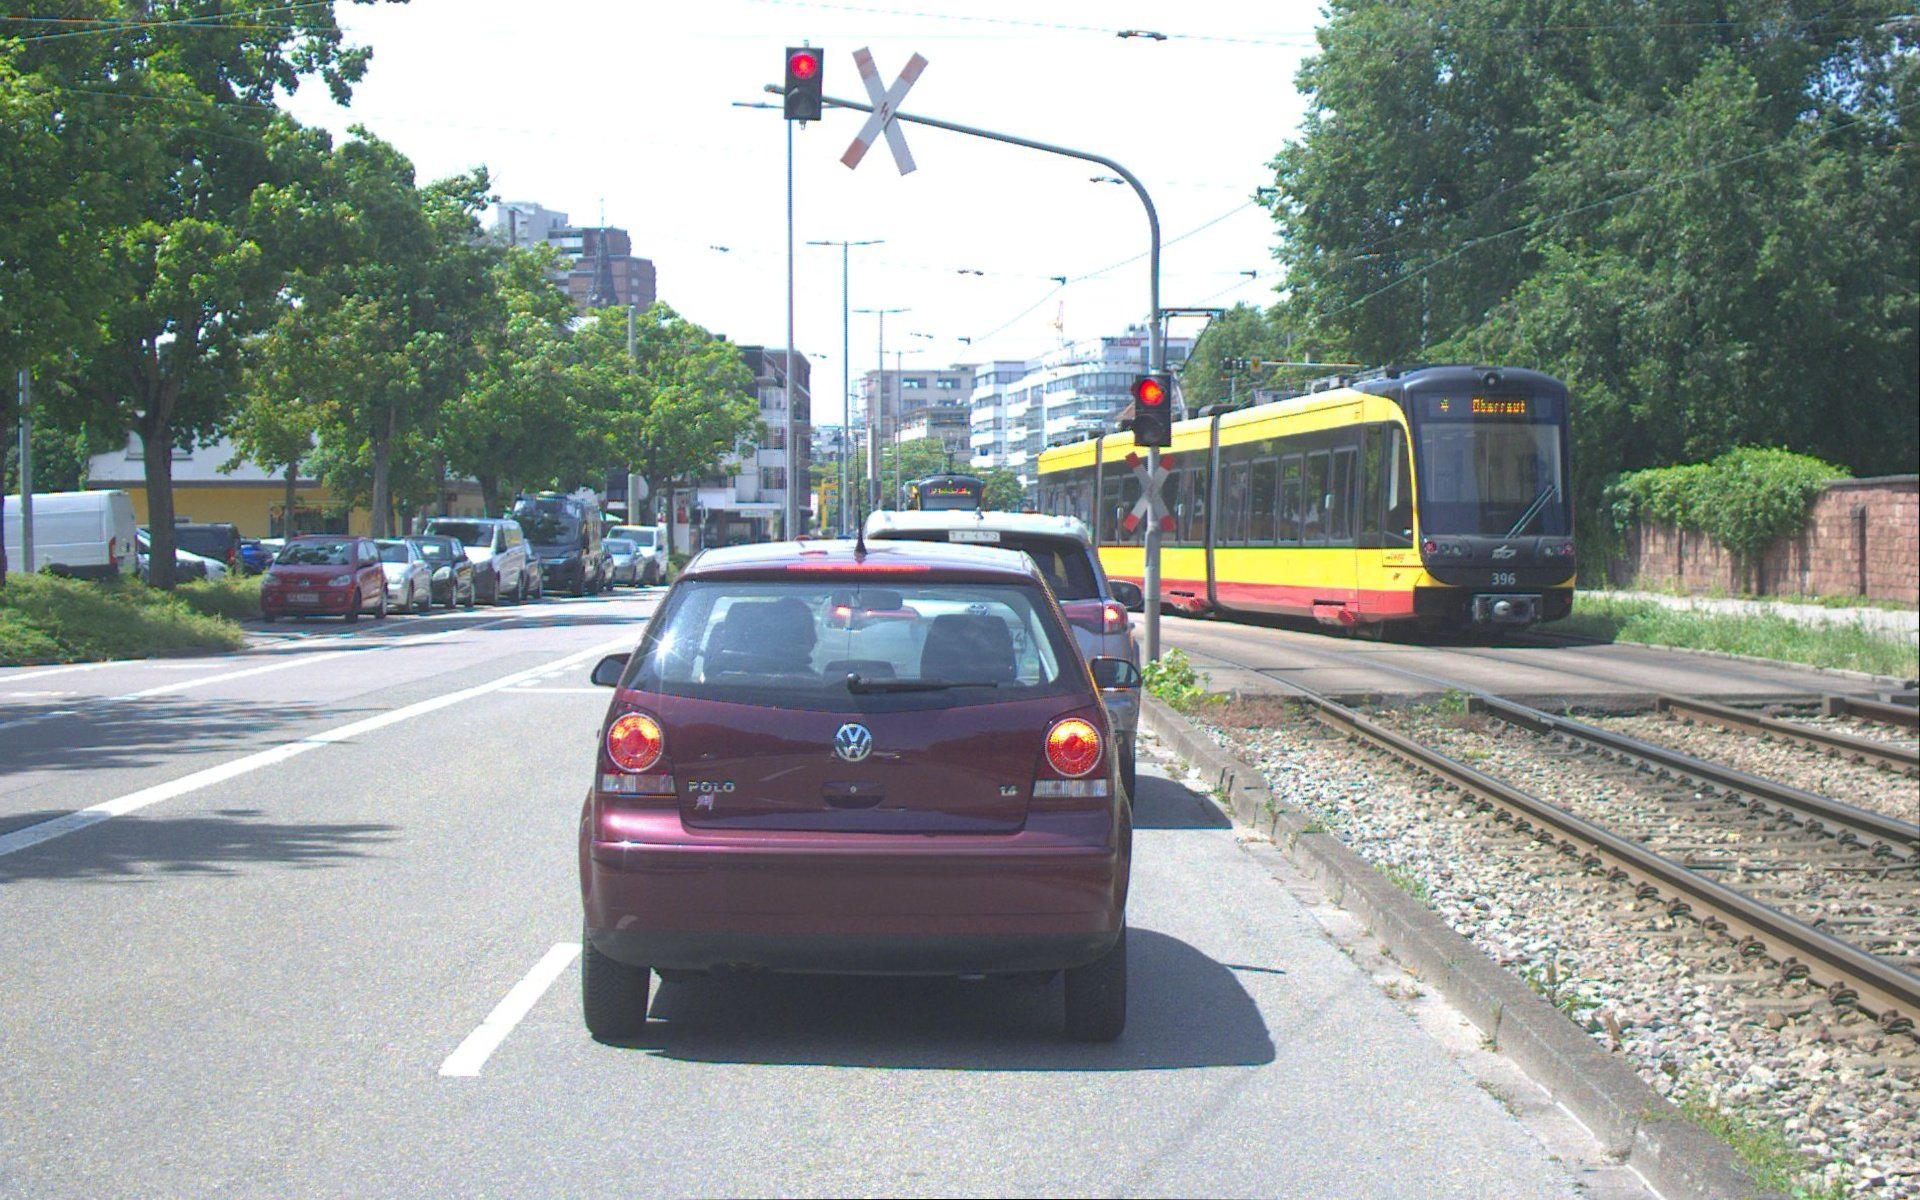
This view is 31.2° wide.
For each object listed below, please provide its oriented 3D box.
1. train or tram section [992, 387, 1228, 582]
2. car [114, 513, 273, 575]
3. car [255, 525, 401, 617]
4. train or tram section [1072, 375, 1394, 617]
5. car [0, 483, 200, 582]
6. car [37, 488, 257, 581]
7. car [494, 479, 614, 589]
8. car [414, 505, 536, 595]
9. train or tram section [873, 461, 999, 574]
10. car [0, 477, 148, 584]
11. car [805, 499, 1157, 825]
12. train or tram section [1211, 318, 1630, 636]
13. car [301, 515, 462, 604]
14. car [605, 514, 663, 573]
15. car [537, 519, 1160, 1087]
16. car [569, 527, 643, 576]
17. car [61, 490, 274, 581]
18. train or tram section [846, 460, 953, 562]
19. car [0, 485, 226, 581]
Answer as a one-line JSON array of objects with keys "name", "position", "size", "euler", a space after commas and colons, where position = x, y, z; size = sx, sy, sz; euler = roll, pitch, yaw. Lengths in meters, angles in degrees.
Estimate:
[{"name": "train or tram section", "position": [2.990, -2.408, 73.271], "size": [3.027, 3.785, 12.763], "euler": [0, 1, -7]}, {"name": "car", "position": [-21.588, -1.572, 96.901], "size": [4.020, 1.611, 1.816], "euler": [2, 0, 1]}, {"name": "car", "position": [-10.898, -0.499, 59.551], "size": [1.663, 1.491, 4.000], "euler": [2, 1, 1]}, {"name": "train or tram section", "position": [4.520, -1.794, 60.562], "size": [3.027, 3.785, 13.093], "euler": [0, 1, -7]}, {"name": "car", "position": [-21.468, -1.653, 84.235], "size": [5.097, 2.237, 2.378], "euler": [2, 0, 1]}, {"name": "car", "position": [-21.220, -1.697, 89.894], "size": [5.097, 2.237, 2.378], "euler": [2, 0, 1]}, {"name": "car", "position": [-10.509, -1.694, 89.369], "size": [2.361, 2.683, 5.307], "euler": [2, 0, 0]}, {"name": "car", "position": [-10.720, -1.094, 76.333], "size": [1.783, 1.875, 4.785], "euler": [2, 1, 2]}, {"name": "train or tram section", "position": [-0.946, -2.870, 118.758], "size": [2.740, 3.597, 12.873], "euler": [2, 1, -7]}, {"name": "car", "position": [-20.840, -1.567, 76.104], "size": [5.097, 2.237, 2.378], "euler": [2, 0, 1]}, {"name": "car", "position": [0.066, 0.271, 19.777], "size": [1.777, 1.641, 4.001], "euler": [2, 1, -1]}, {"name": "train or tram section", "position": [5.988, -1.629, 47.614], "size": [3.028, 3.785, 13.092], "euler": [0, 1, -5]}, {"name": "car", "position": [-11.064, -0.772, 66.098], "size": [1.976, 1.595, 4.557], "euler": [2, 1, 4]}, {"name": "car", "position": [-10.685, -1.844, 112.655], "size": [1.774, 1.822, 4.001], "euler": [2, 1, -6]}, {"name": "car", "position": [-0.348, 0.513, 11.458], "size": [1.672, 1.516, 4.000], "euler": [2, 1, -1]}, {"name": "car", "position": [-10.966, -1.485, 106.655], "size": [1.614, 1.436, 4.000], "euler": [2, 1, 3]}, {"name": "car", "position": [-21.318, -1.726, 92.595], "size": [5.097, 2.237, 2.378], "euler": [2, 0, 1]}, {"name": "train or tram section", "position": [-2.364, -3.397, 130.101], "size": [2.740, 3.597, 10.953], "euler": [2, 1, -7]}, {"name": "car", "position": [-21.508, -1.684, 87.423], "size": [5.097, 2.237, 2.378], "euler": [2, 0, 1]}]
